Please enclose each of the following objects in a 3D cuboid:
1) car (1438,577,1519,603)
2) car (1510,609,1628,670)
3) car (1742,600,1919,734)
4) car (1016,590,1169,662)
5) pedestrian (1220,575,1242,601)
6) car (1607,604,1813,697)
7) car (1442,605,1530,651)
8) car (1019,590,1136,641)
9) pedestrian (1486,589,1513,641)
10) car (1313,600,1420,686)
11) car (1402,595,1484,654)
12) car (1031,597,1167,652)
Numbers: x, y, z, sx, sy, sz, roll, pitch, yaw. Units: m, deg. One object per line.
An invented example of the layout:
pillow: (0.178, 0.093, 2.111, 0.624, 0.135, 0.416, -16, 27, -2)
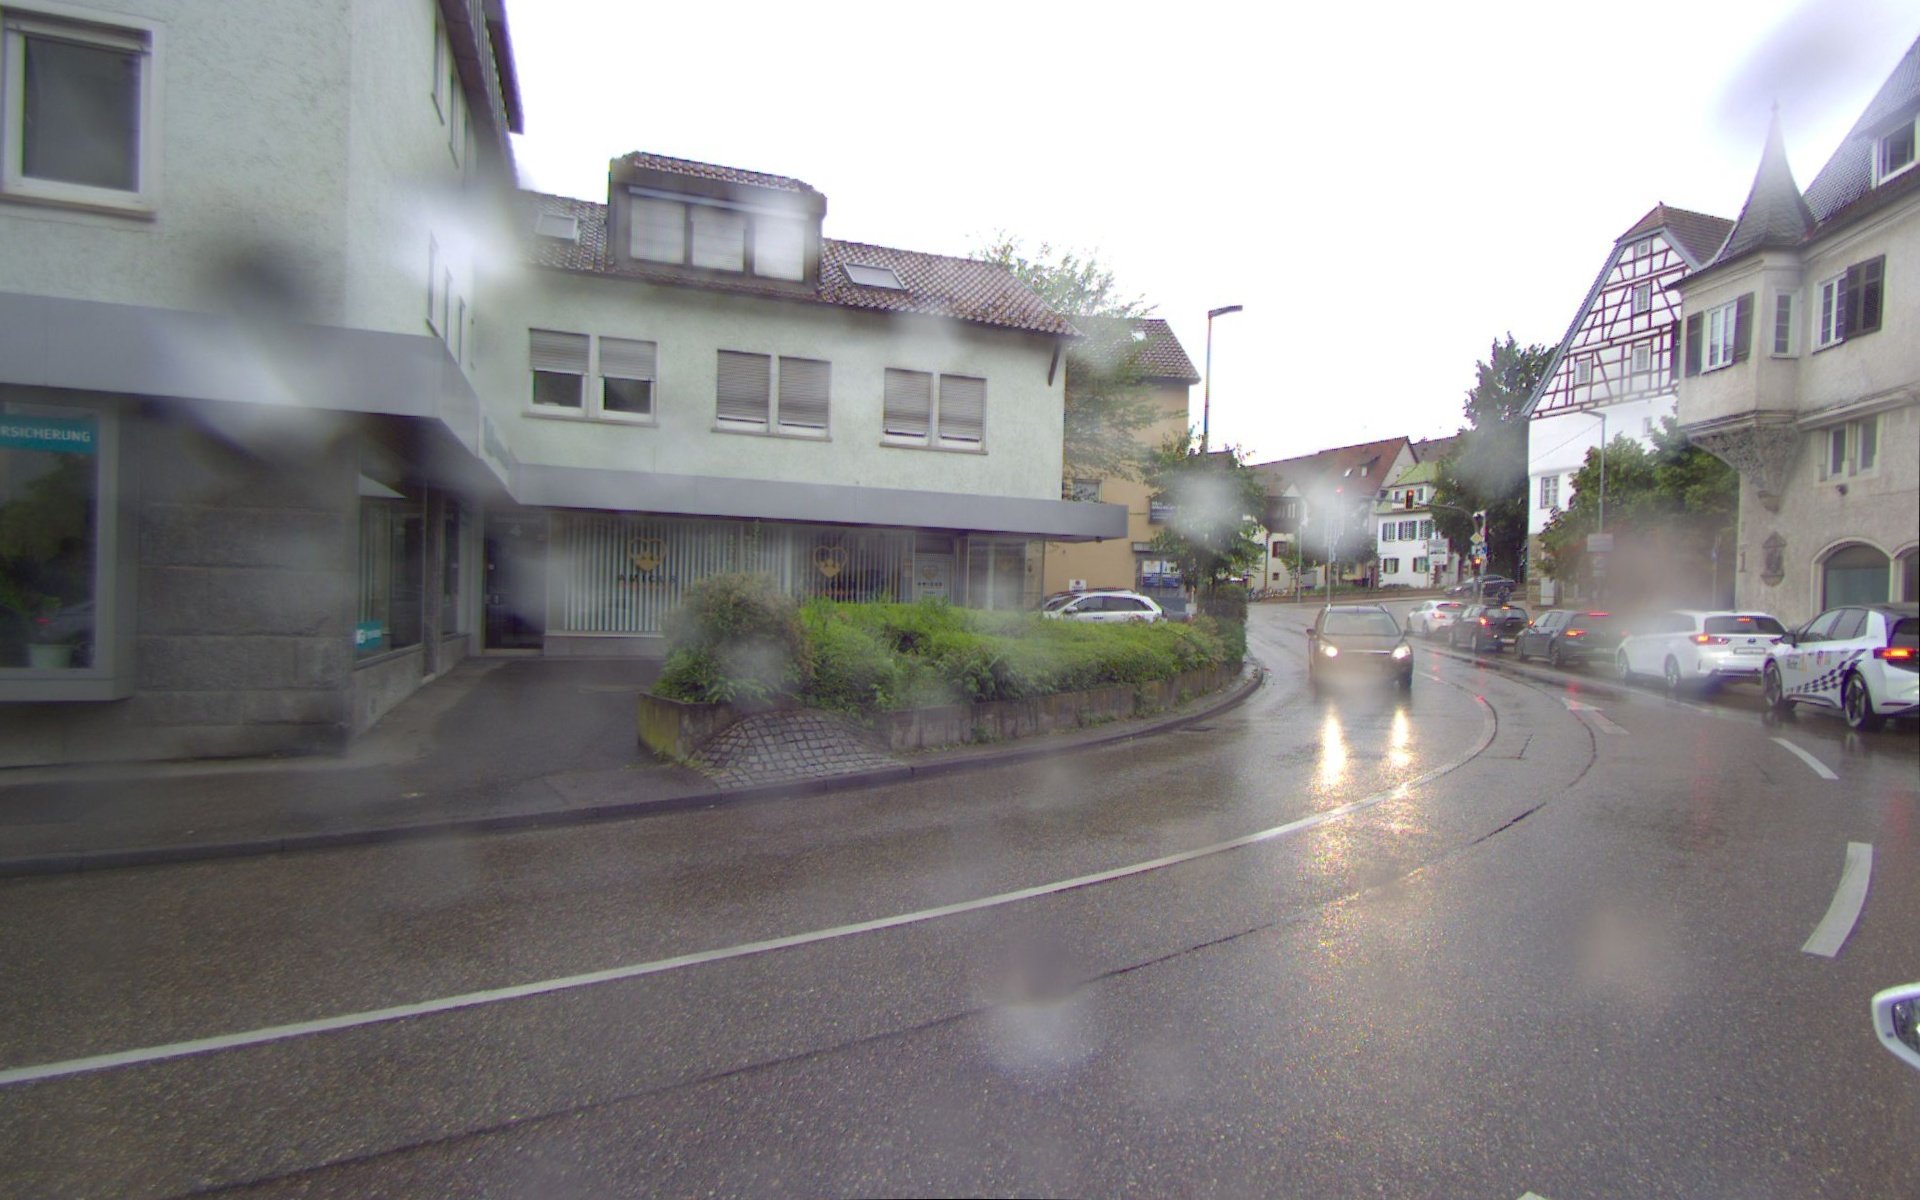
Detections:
car: (33.502, -0.633, 64.976, 4.446, 1.409, 1.648, 1, 7, -8)
car: (15.630, 0.975, 25.980, 1.493, 1.380, 3.769, 0, 1, 13)
car: (12.173, 0.790, 13.324, 1.760, 1.537, 4.239, -1, -1, 22)
car: (3.280, 0.628, 25.187, 3.472, 1.708, 1.710, 0, 1, -8)
pedestrian: (18.970, -0.852, 70.265, 1.133, 1.765, 1.000, 1, 0, 42)
car: (13.943, 0.853, 18.991, 1.755, 1.485, 4.165, 0, 1, 16)
car: (16.929, 0.865, 32.500, 1.634, 1.330, 3.625, 0, 1, 13)
car: (3.794, 0.492, 32.690, 3.472, 1.597, 1.710, 0, 1, -8)
pedestrian: (24.910, 0.666, 46.394, 0.851, 2.357, 1.231, 1, 0, 18)
car: (8.033, 0.807, 20.151, 1.703, 1.530, 4.274, -1, -1, 18)
car: (18.644, 0.904, 38.961, 1.939, 2.118, 3.963, 0, 1, 11)
car: (3.864, 0.679, 28.238, 3.472, 1.475, 1.710, 0, 1, -8)
